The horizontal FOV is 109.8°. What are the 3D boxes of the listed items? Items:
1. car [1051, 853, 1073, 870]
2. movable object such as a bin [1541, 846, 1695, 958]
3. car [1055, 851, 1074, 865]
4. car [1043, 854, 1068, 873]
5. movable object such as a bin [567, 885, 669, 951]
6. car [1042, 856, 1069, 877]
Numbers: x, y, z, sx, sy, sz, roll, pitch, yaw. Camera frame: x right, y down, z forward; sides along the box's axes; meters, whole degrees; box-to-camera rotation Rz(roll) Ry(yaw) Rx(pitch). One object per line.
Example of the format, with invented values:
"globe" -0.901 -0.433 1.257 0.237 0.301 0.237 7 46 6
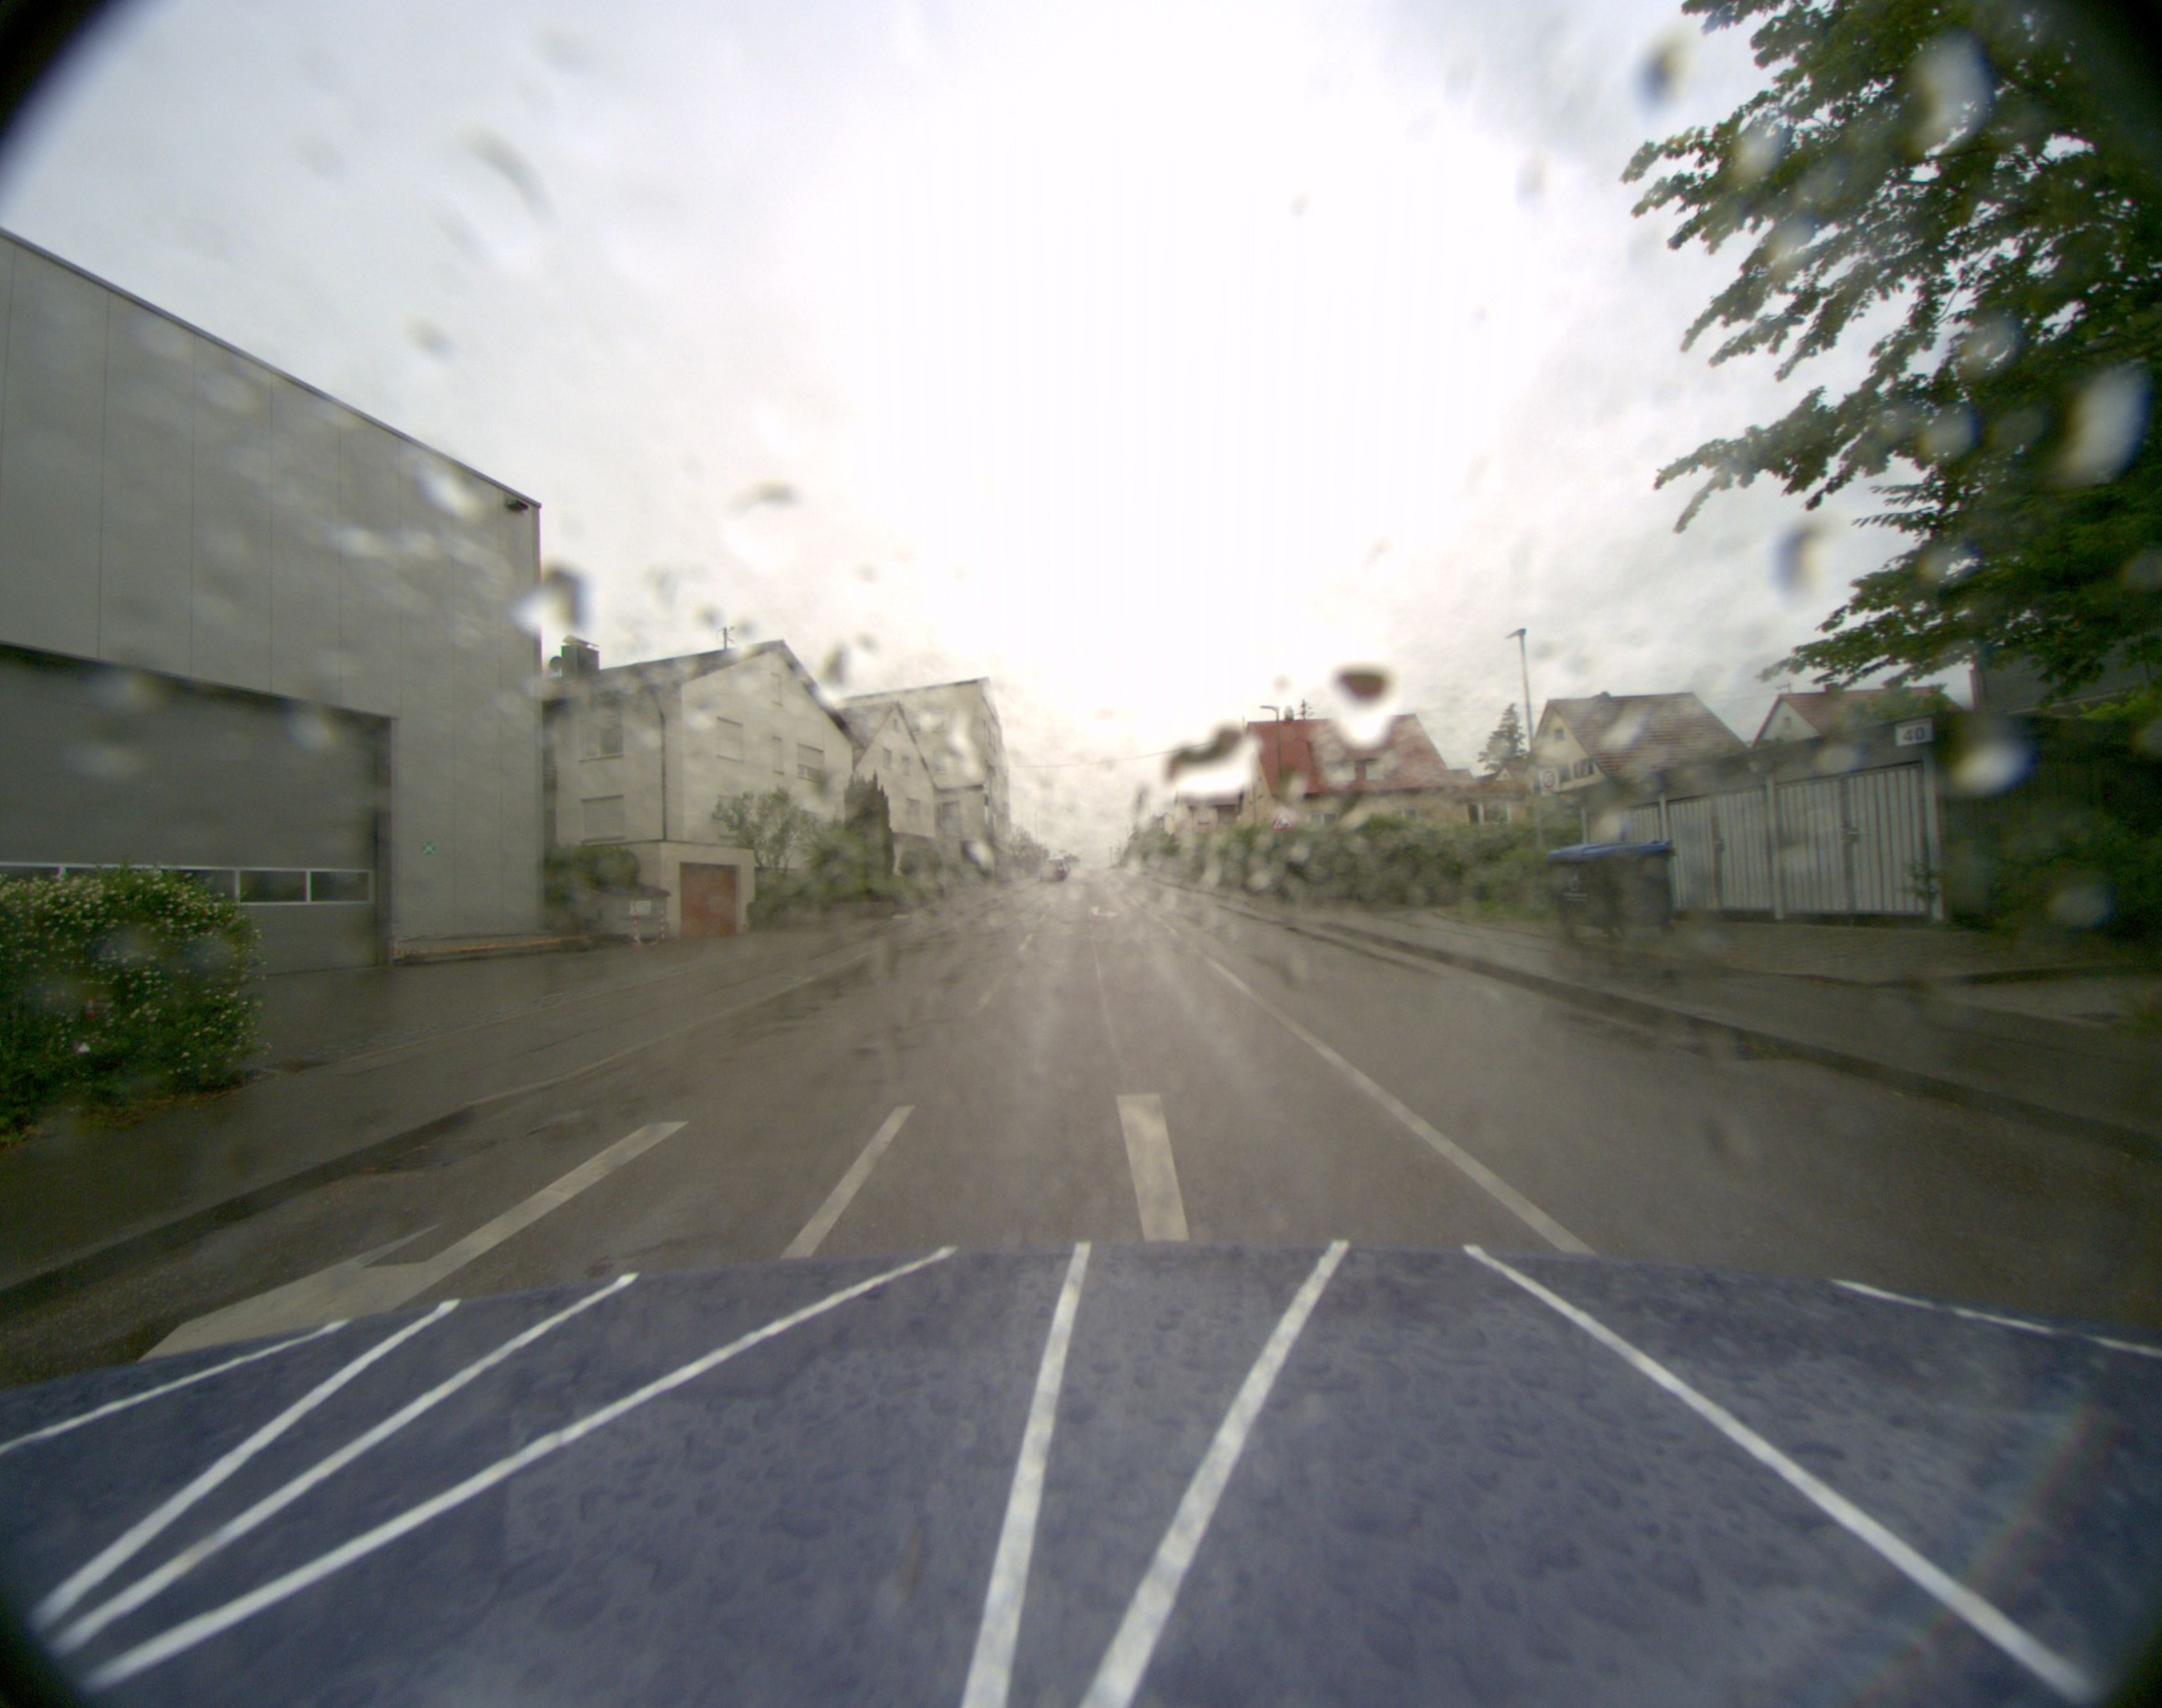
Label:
"car" -1.826 0.742 73.210 1.848 1.514 4.001 -2 0 2
"movable object such as a bin" 7.141 0.623 10.194 1.056 1.289 1.202 -7 -1 1
"car" -1.876 0.479 85.873 1.848 1.514 4.001 -2 0 2
"car" -2.170 0.812 65.710 1.848 1.514 4.001 -2 0 2
"movable object such as a bin" -11.556 1.571 19.011 1.446 1.526 1.591 -2 -1 16
"car" -2.044 0.990 61.001 1.848 1.514 4.001 -2 0 2
